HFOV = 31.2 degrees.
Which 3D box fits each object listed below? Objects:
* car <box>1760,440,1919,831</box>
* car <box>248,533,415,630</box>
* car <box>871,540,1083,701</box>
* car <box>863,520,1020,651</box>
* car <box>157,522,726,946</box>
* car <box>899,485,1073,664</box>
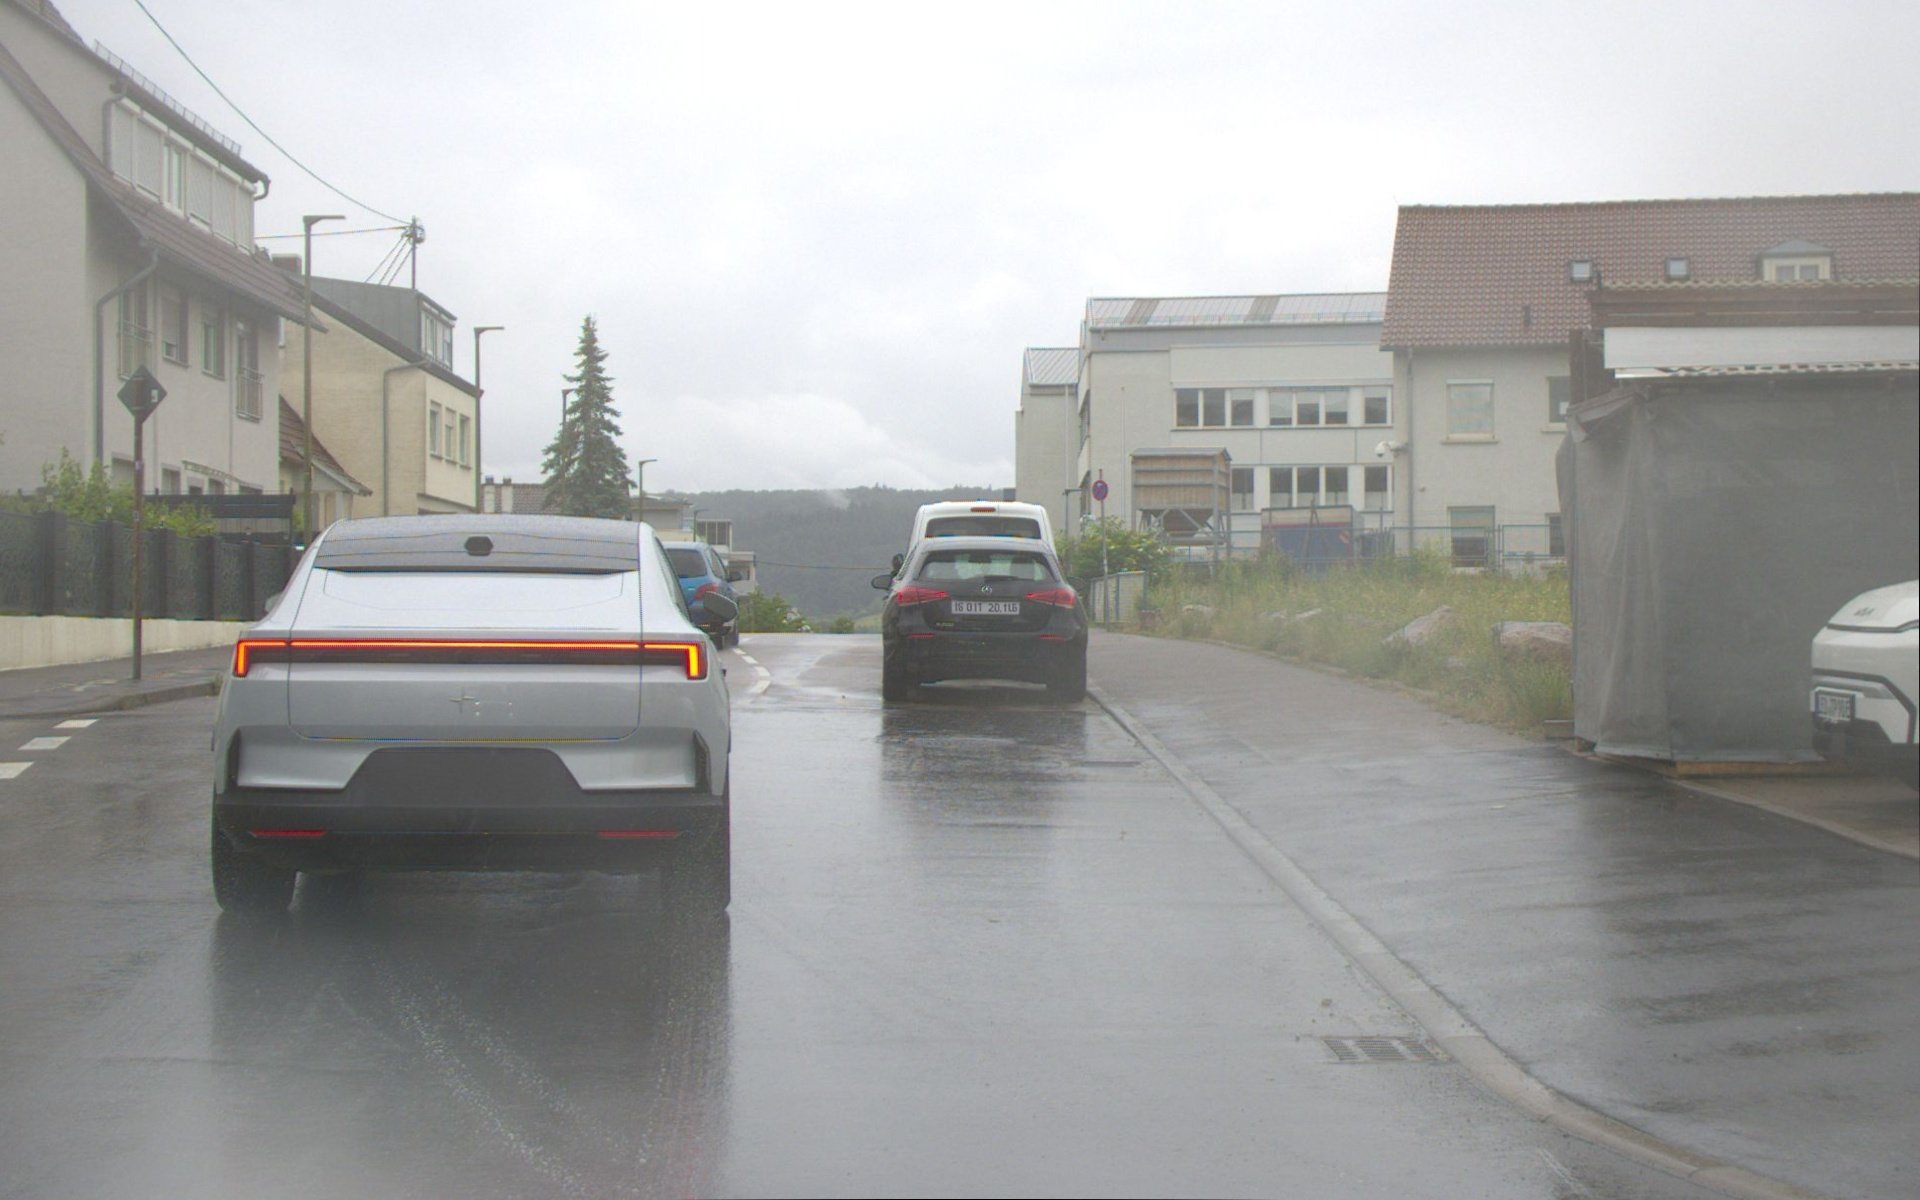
[{"bbox_3d":[5.888,0.092,15.149,4.216,1.604,1.861,-2,0,-2],"label":"car"},{"bbox_3d":[-10.934,-0.319,60.143,1.993,1.505,4.896,3,0,-1],"label":"car"},{"bbox_3d":[0.111,0.155,31.317,1.768,1.331,4.321,1,0,-1],"label":"car"},{"bbox_3d":[-0.295,-0.203,44.457,1.642,1.569,4.644,1,0,-5],"label":"car"},{"bbox_3d":[-2.042,0.461,14.547,1.993,1.497,4.670,0,0,-5],"label":"car"},{"bbox_3d":[0.231,-0.286,38.026,1.768,1.819,4.575,1,0,-1],"label":"car"}]
